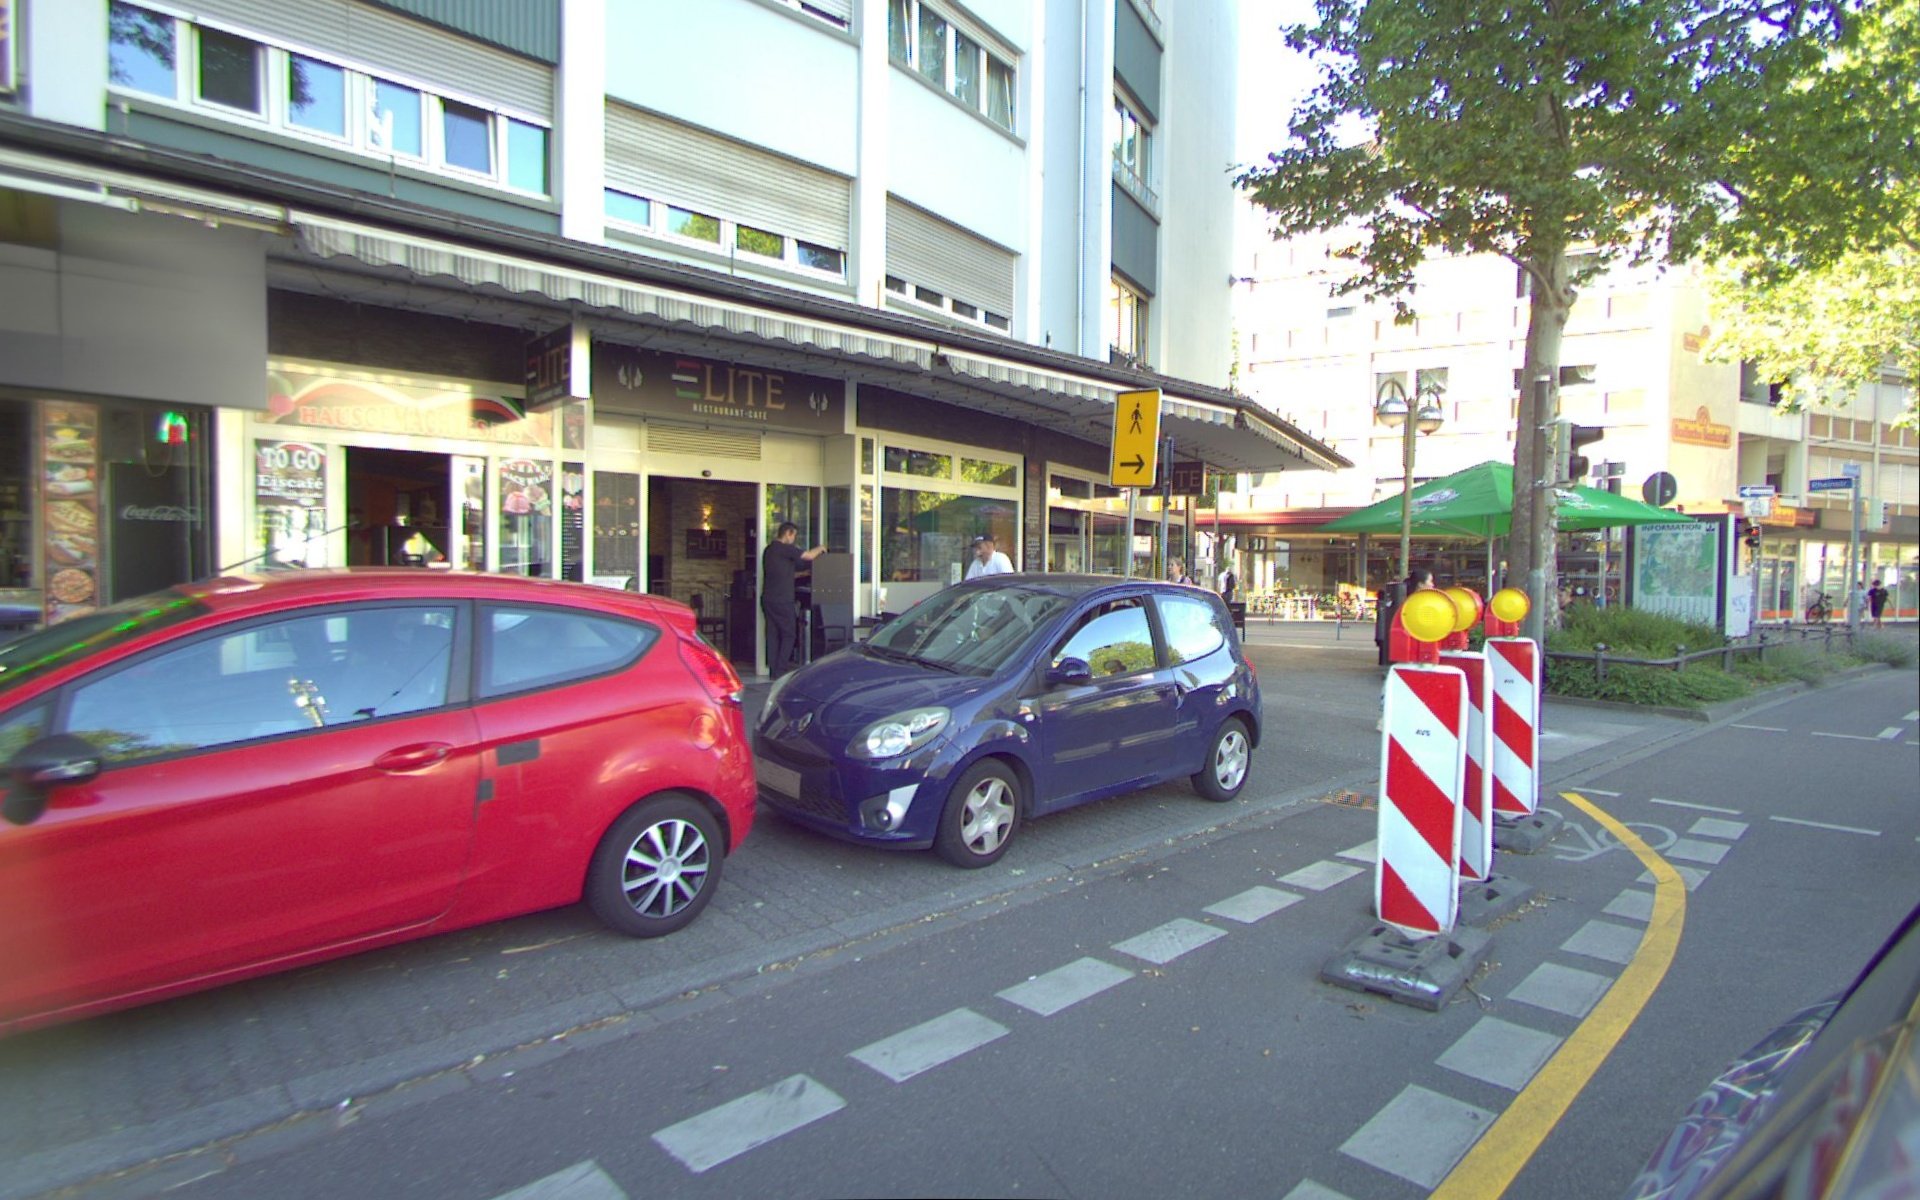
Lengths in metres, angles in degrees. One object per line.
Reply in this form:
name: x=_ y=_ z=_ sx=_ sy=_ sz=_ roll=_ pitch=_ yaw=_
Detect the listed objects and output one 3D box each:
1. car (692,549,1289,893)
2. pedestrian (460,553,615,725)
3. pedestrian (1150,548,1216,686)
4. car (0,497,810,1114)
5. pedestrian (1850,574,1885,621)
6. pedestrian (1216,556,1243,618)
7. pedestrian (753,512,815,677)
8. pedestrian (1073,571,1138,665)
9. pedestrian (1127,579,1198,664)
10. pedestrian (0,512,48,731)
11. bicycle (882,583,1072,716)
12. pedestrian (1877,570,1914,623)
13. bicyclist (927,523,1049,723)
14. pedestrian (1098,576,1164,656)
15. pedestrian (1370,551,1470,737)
car: x=0.352 y=0.496 z=6.438 sx=3.551 sy=1.485 sz=1.769 roll=-1 pitch=5 yaw=-43
pedestrian: x=-3.625 y=0.282 z=8.667 sx=0.937 sy=1.352 sz=1.069 roll=-1 pitch=2 yaw=-41
pedestrian: x=2.764 y=0.189 z=12.543 sx=0.624 sy=1.657 sz=0.525 roll=2 pitch=1 yaw=35
car: x=-2.637 y=0.475 z=3.761 sx=3.761 sy=1.614 sz=1.784 roll=-1 pitch=5 yaw=-44
pedestrian: x=28.368 y=-0.086 z=31.641 sx=0.520 sy=1.455 sz=0.630 roll=0 pitch=1 yaw=-21
pedestrian: x=8.822 y=-0.428 z=33.166 sx=0.636 sy=1.983 sz=0.889 roll=1 pitch=1 yaw=2
pedestrian: x=-1.973 y=-0.075 z=11.350 sx=0.547 sy=1.800 sz=0.395 roll=-2 pitch=4 yaw=-43
pedestrian: x=2.109 y=0.245 z=14.750 sx=0.685 sy=1.323 sz=0.793 roll=0 pitch=1 yaw=-13
pedestrian: x=3.004 y=0.307 z=15.074 sx=0.685 sy=1.207 sz=0.881 roll=0 pitch=2 yaw=-17
pedestrian: x=-7.108 y=0.144 z=7.400 sx=0.588 sy=1.560 sz=0.702 roll=0 pitch=1 yaw=-38
bicycle: x=0.206 y=0.441 z=9.898 sx=0.750 sy=1.143 sz=1.856 roll=5 pitch=3 yaw=44
pedestrian: x=28.628 y=-0.112 z=30.971 sx=0.520 sy=1.605 sz=0.630 roll=0 pitch=1 yaw=-21
bicyclist: x=0.275 y=0.186 z=9.937 sx=0.752 sy=1.848 sz=0.911 roll=4 pitch=4 yaw=45
pedestrian: x=2.692 y=0.236 z=15.924 sx=0.776 sy=1.207 sz=0.648 roll=0 pitch=2 yaw=-34
pedestrian: x=4.333 y=0.371 z=9.531 sx=0.783 sy=1.666 sz=0.583 roll=-2 pitch=3 yaw=-42
